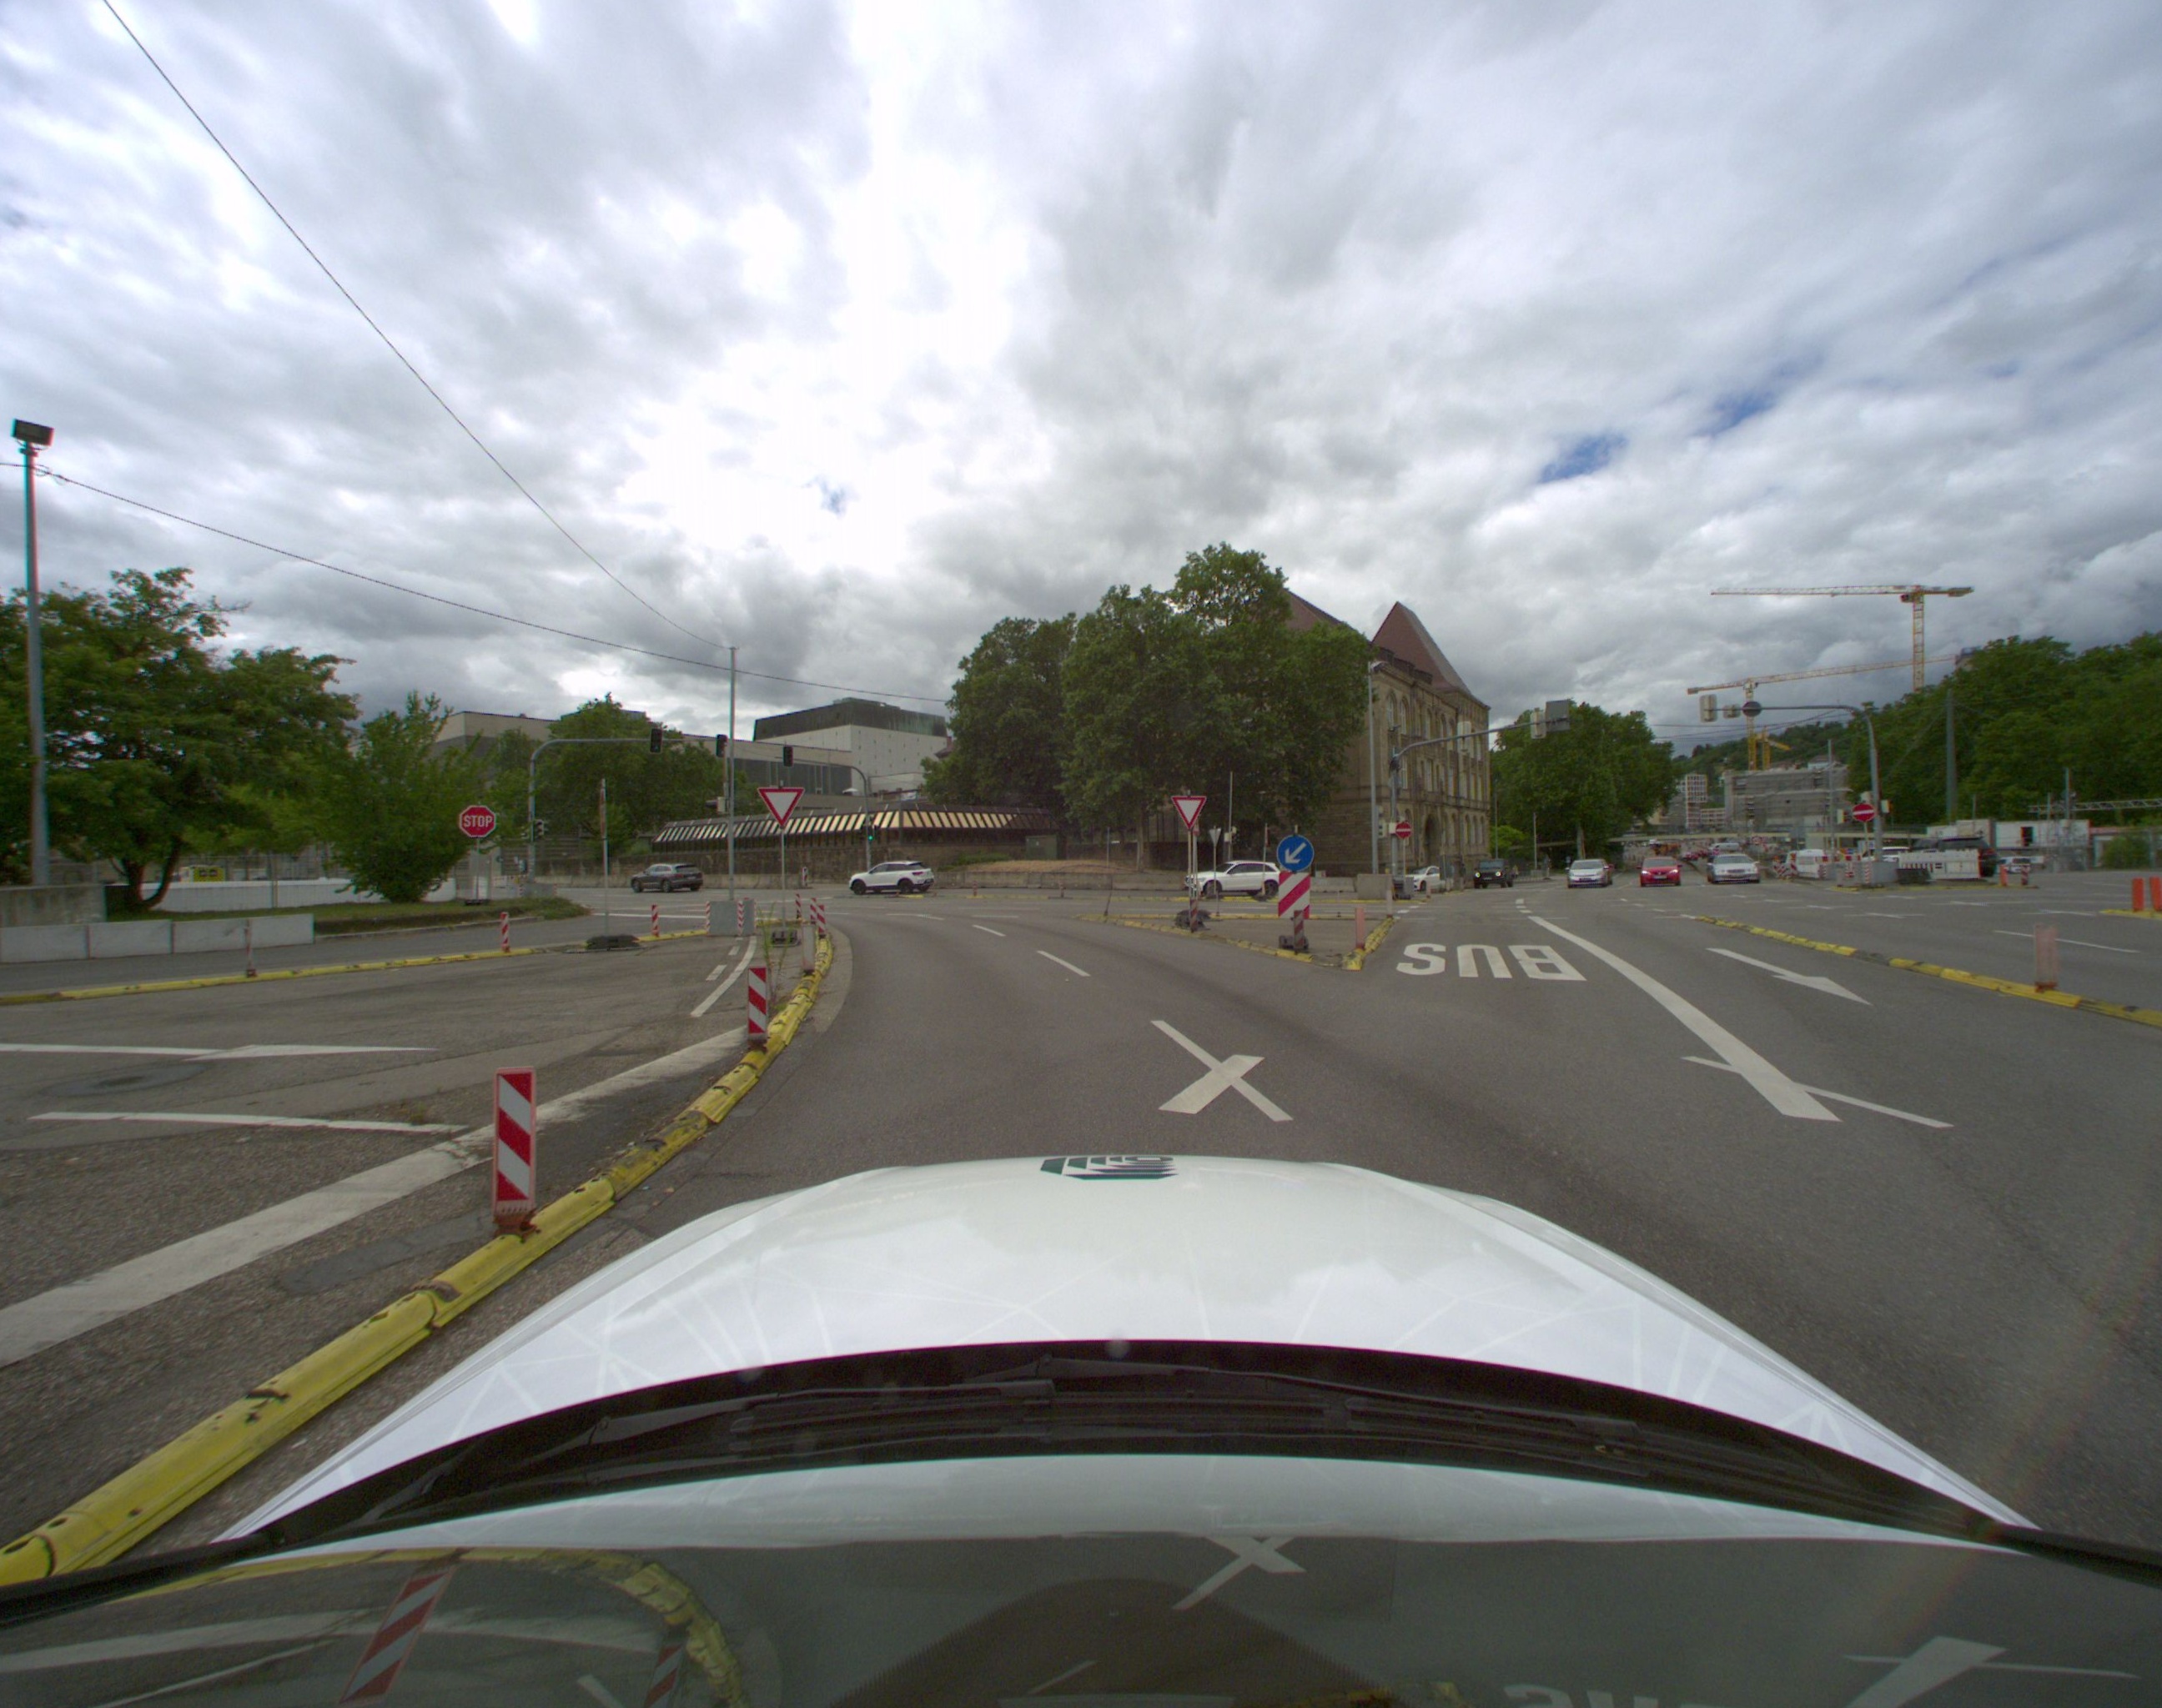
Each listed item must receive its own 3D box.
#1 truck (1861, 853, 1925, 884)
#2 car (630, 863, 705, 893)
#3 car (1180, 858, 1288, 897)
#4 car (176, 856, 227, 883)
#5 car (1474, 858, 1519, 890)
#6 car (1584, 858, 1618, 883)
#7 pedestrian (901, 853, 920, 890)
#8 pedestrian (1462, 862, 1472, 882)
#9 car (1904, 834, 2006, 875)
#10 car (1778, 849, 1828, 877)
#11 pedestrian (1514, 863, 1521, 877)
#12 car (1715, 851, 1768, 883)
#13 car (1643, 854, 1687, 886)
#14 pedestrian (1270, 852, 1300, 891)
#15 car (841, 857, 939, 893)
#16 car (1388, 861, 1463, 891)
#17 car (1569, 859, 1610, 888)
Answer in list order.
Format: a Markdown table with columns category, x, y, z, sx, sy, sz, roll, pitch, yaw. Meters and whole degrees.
| category | x | y | z | sx | sy | sz | roll | pitch | yaw |
| --- | --- | --- | --- | --- | --- | --- | --- | --- | --- |
| truck | 48.156 | 0.821 | 48.385 | 1.916 | 1.681 | 4.039 | 0 | 1 | 33 |
| car | -24.105 | 1.358 | 47.434 | 4.422 | 1.567 | 1.841 | 0 | 1 | 32 |
| car | 7.007 | 1.051 | 37.400 | 4.548 | 1.642 | 1.807 | -1 | 0 | -17 |
| car | -82.702 | 1.438 | 76.542 | 5.454 | 2.374 | 2.607 | -2 | 1 | 37 |
| car | 27.857 | 1.363 | 54.570 | 1.913 | 1.938 | 3.695 | -4 | -6 | 38 |
| car | 31.097 | 0.953 | 48.662 | 1.644 | 1.435 | 3.469 | 0 | 0 | 34 |
| pedestrian | -9.369 | 0.947 | 44.689 | 0.844 | 2.014 | 0.623 | -1 | -1 | 3 |
| pedestrian | 32.228 | 1.514 | 67.939 | 0.653 | 1.635 | 0.856 | -1 | -1 | 31 |
| car | 37.464 | 0.043 | 35.027 | 1.920 | 1.667 | 3.664 | -1 | -1 | 29 |
| car | 45.978 | 0.583 | 51.925 | 1.741 | 1.687 | 3.665 | -1 | -1 | 32 |
| pedestrian | 51.393 | 1.907 | 95.974 | 0.653 | 1.635 | 0.856 | -1 | -1 | 31 |
| car | 31.217 | 0.612 | 38.576 | 1.672 | 1.435 | 3.469 | -4 | -2 | 36 |
| car | 28.749 | 0.773 | 40.107 | 1.669 | 1.435 | 3.469 | -3 | -2 | 36 |
| pedestrian | 10.748 | 0.926 | 42.911 | 1.188 | 2.014 | 1.202 | -1 | -1 | -4 |
| car | -9.277 | 1.029 | 39.610 | 4.284 | 1.567 | 1.764 | -1 | 2 | 16 |
| car | 18.698 | 1.143 | 44.101 | 4.400 | 1.435 | 1.721 | -1 | 1 | -36 |
| car | 26.851 | 1.034 | 42.943 | 1.644 | 1.436 | 3.468 | -3 | -3 | 34 |
